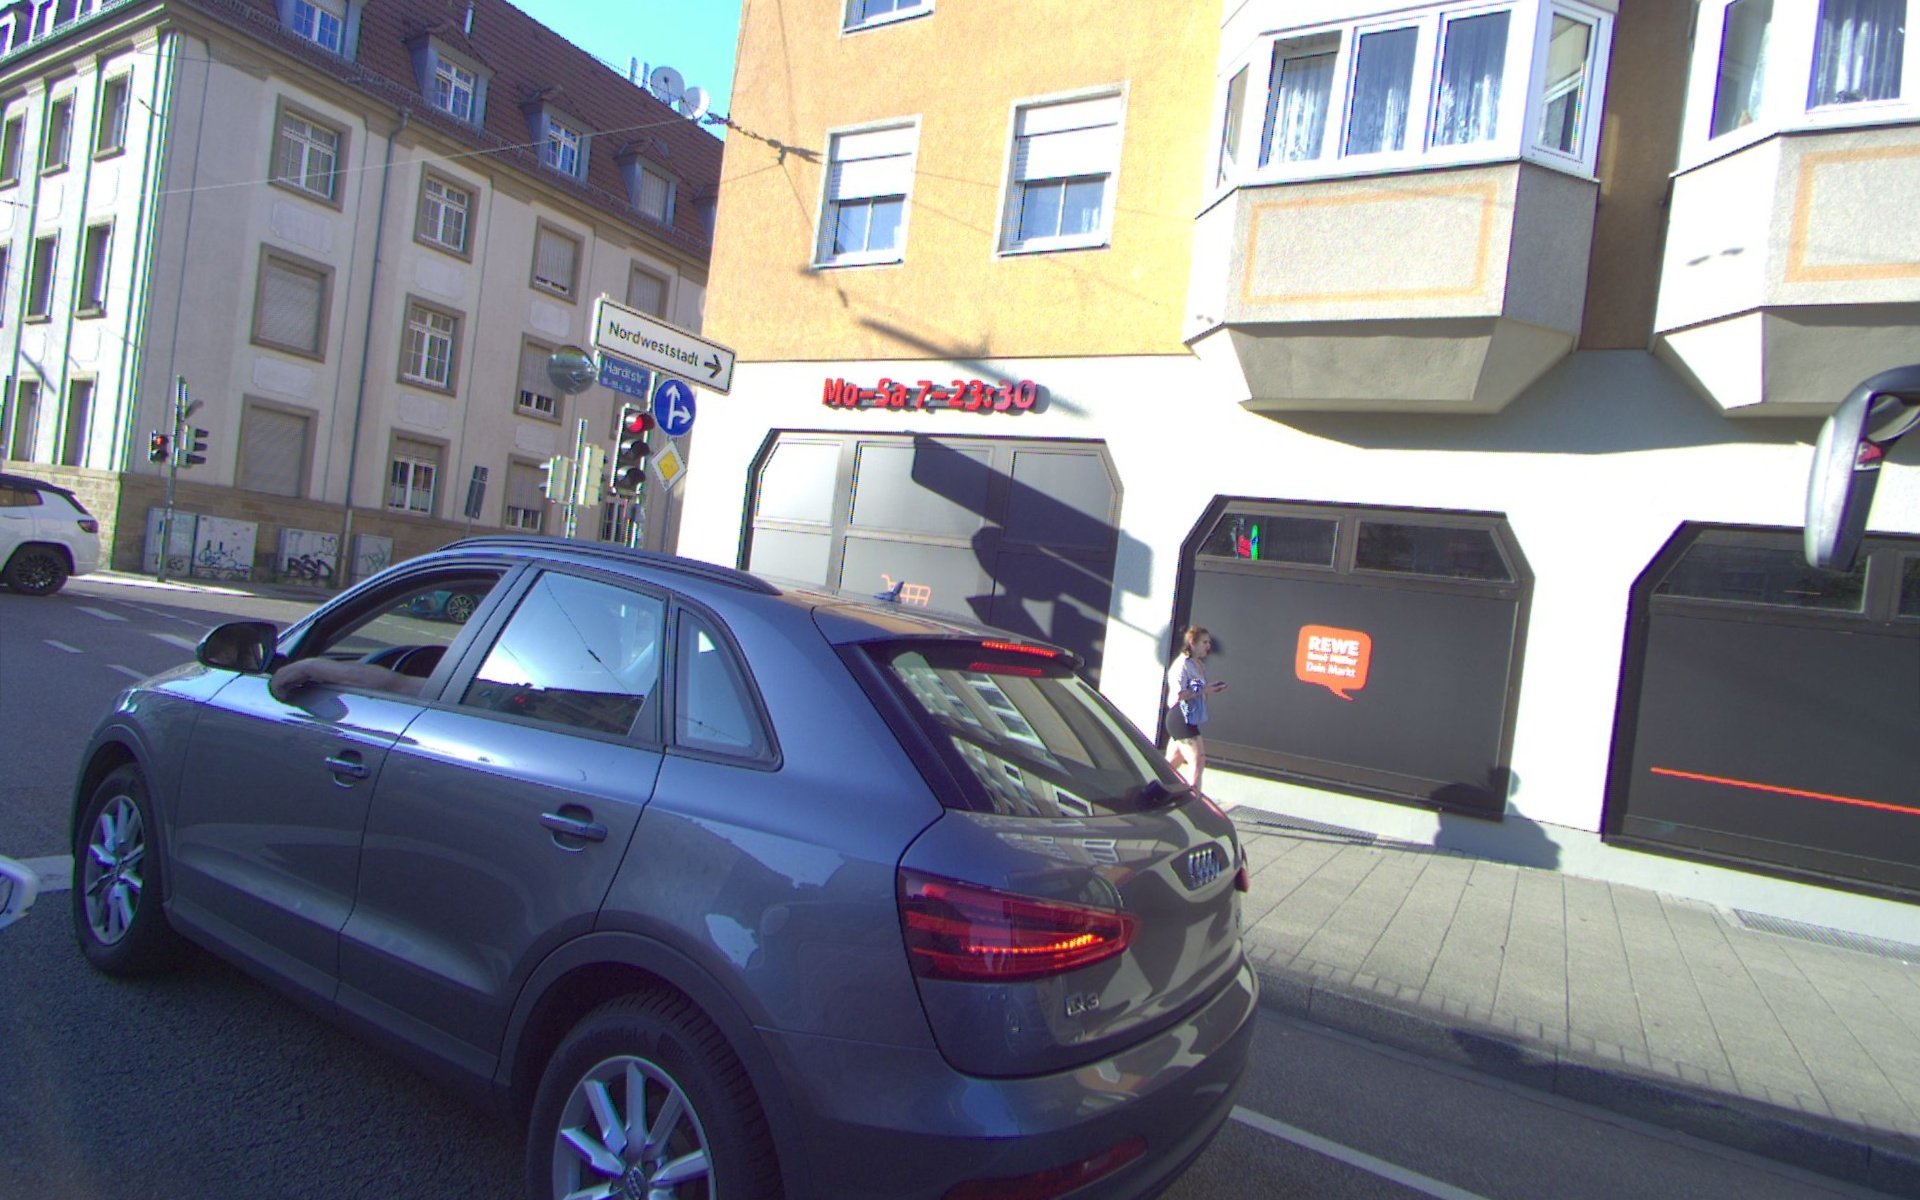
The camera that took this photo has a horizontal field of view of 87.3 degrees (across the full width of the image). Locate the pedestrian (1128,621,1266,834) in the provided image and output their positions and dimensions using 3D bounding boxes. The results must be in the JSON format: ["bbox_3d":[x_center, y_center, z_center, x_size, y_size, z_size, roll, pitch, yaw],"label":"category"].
[{"bbox_3d":[1.899,0.990,8.063,0.817,1.544,0.440,7,1,32],"label":"pedestrian"}]

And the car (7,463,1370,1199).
[{"bbox_3d":[-1.073,0.588,3.180,4.018,1.595,1.772,7,0,32],"label":"car"}]

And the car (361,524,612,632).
[{"bbox_3d":[-10.112,-0.408,21.837,1.968,1.749,4.465,6,-1,33],"label":"car"}]

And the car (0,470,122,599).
[{"bbox_3d":[-14.367,-1.105,13.392,1.965,1.660,4.430,7,-1,26],"label":"car"}]

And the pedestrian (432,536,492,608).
[{"bbox_3d":[-12.808,-0.719,25.899,0.657,1.703,1.038,7,1,31],"label":"pedestrian"}]

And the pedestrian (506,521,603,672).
[{"bbox_3d":[-5.402,-0.039,13.422,0.706,1.896,0.694,6,-2,31],"label":"pedestrian"}]

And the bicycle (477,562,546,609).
[{"bbox_3d":[-12.416,-0.390,27.889,0.657,1.131,1.564,7,0,32],"label":"bicycle"}]
